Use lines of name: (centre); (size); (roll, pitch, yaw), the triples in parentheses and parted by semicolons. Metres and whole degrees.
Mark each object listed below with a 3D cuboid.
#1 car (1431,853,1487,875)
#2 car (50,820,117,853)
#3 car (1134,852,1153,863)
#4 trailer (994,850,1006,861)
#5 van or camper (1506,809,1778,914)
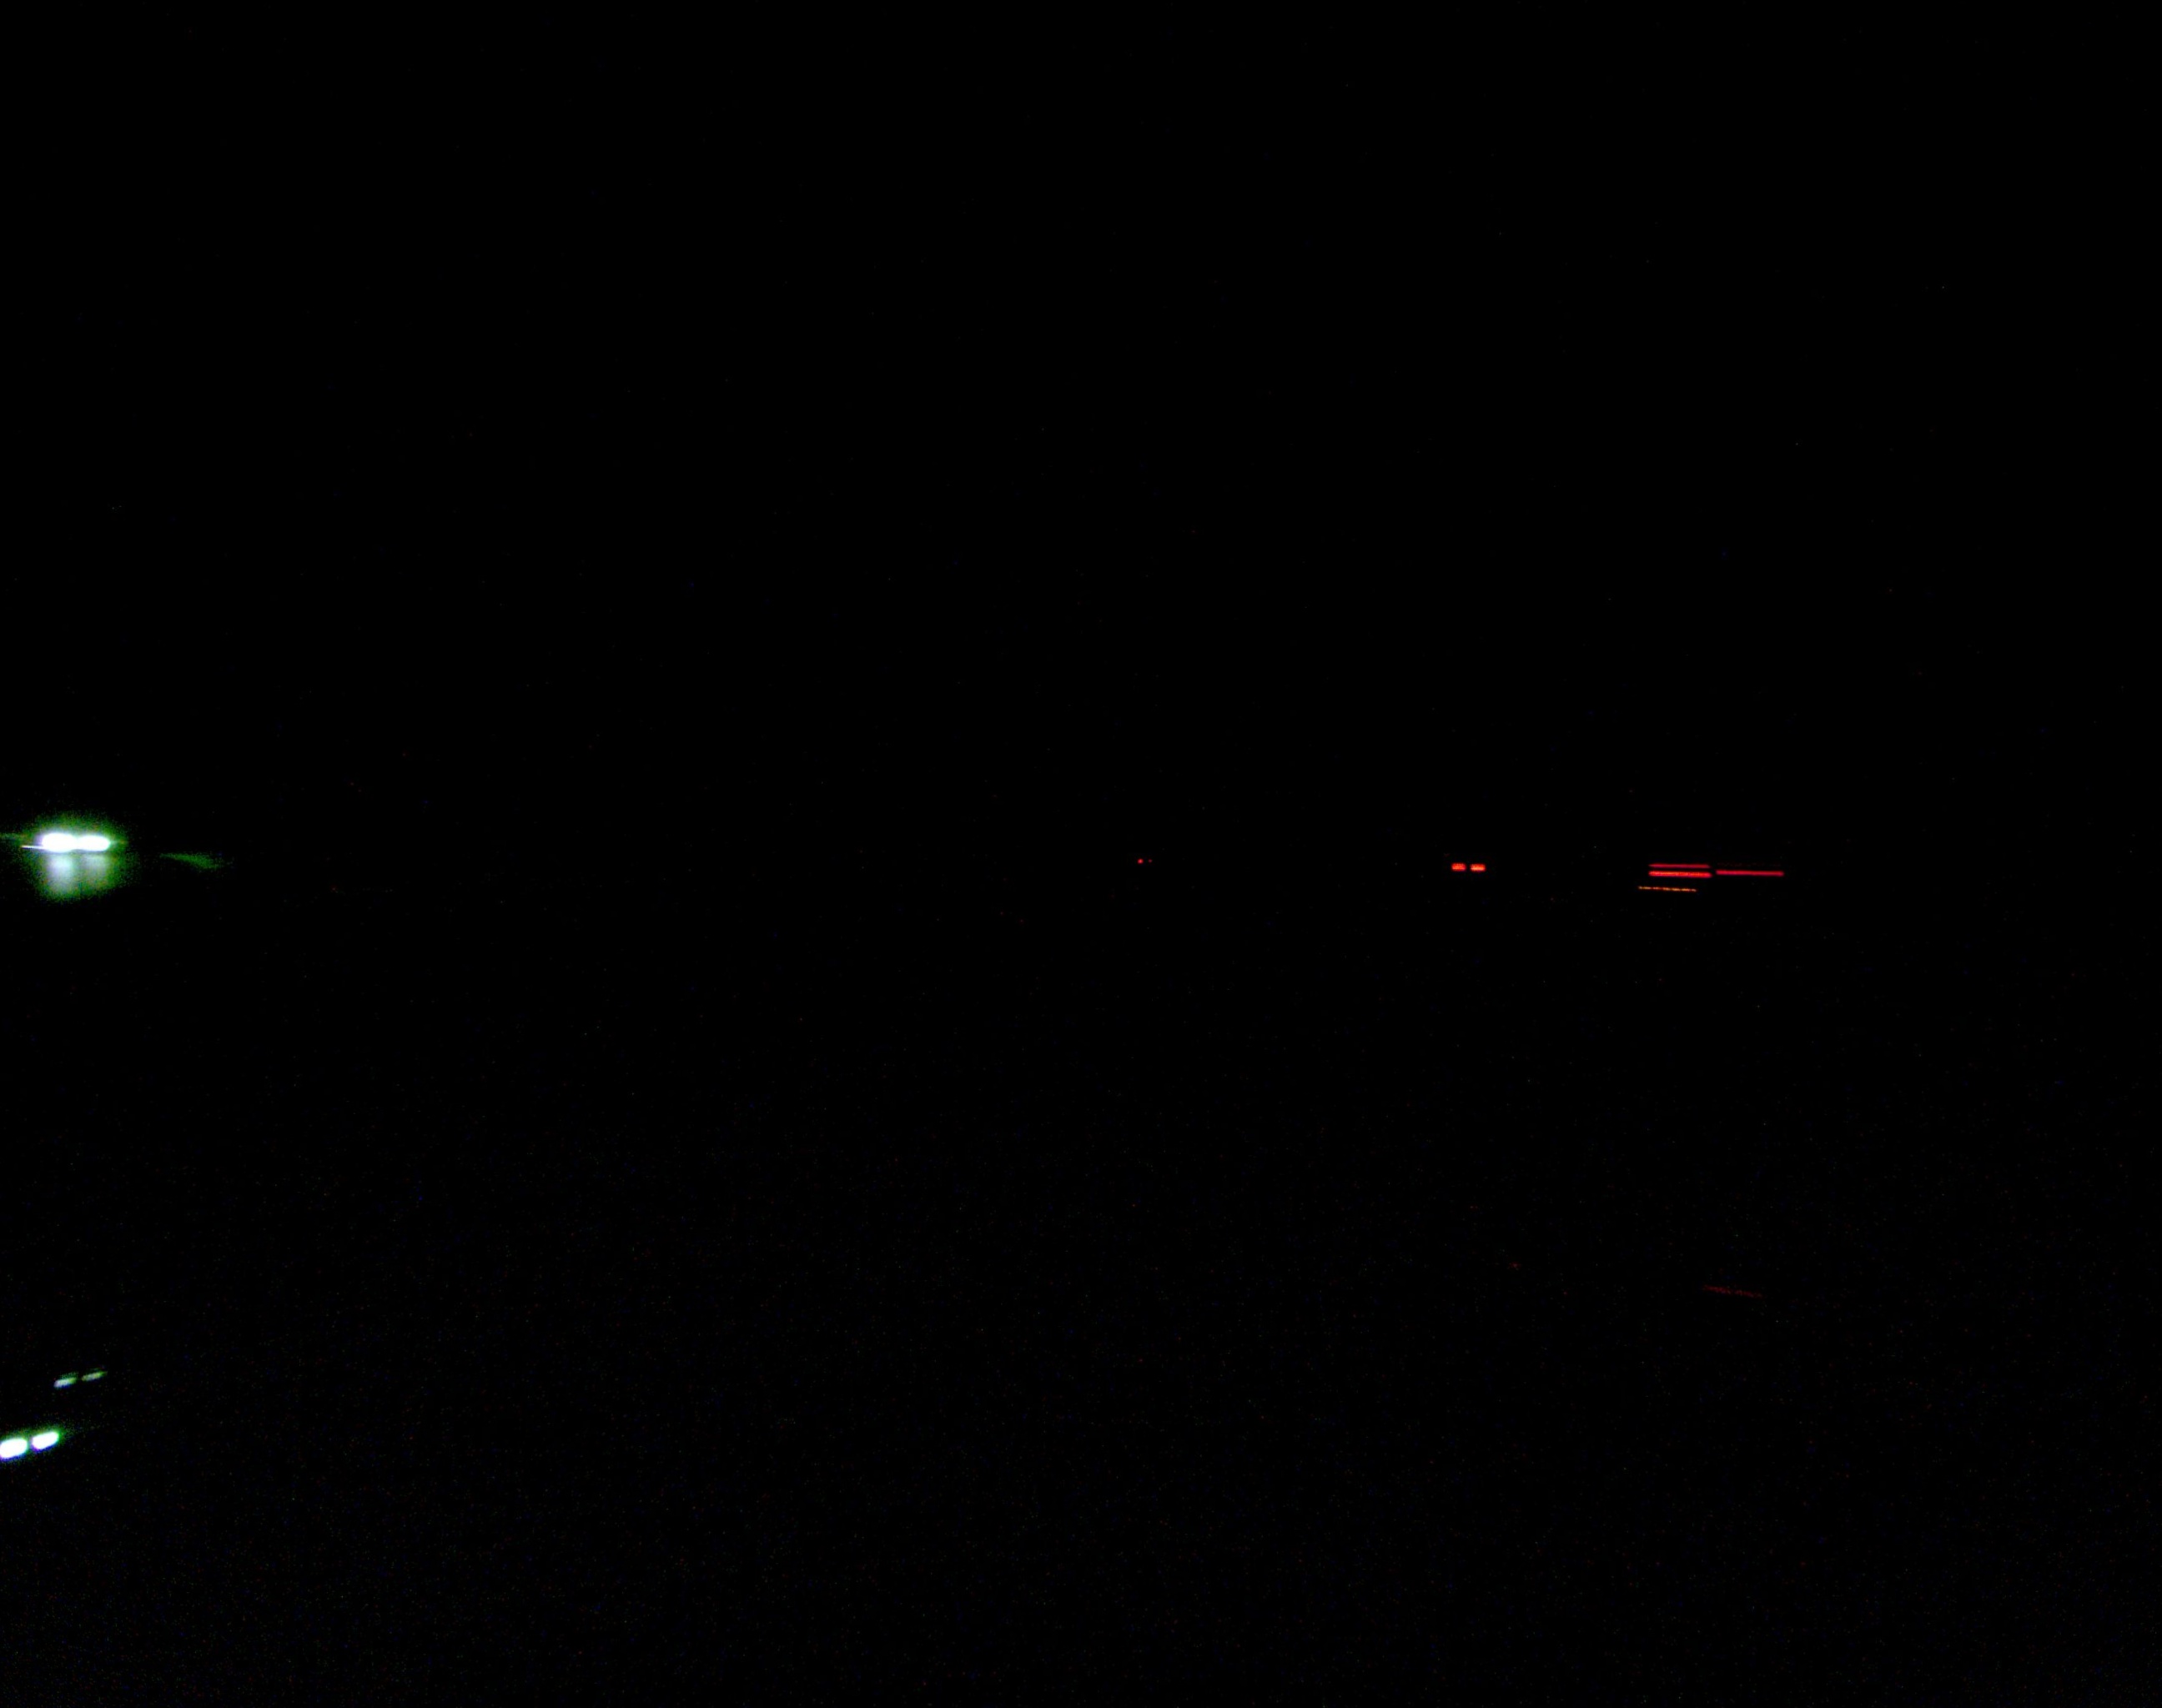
car: (25.411, 0.656, 51.233); (1.825, 1.433, 4.477); (1, 0, 5)
car: (-62.234, -1.092, 47.392); (3.989, 1.843, 2.003); (-2, 1, 31)
car: (9.425, 0.558, 115.150); (2.000, 1.648, 4.531); (-1, 0, -6)
trailer: (-27.736, 0.567, 260.724); (2.728, 3.933, 9.035); (-1, 0, -15)
van or camper: (15.993, 0.179, 22.600); (2.300, 2.602, 7.664); (0, 0, -1)
